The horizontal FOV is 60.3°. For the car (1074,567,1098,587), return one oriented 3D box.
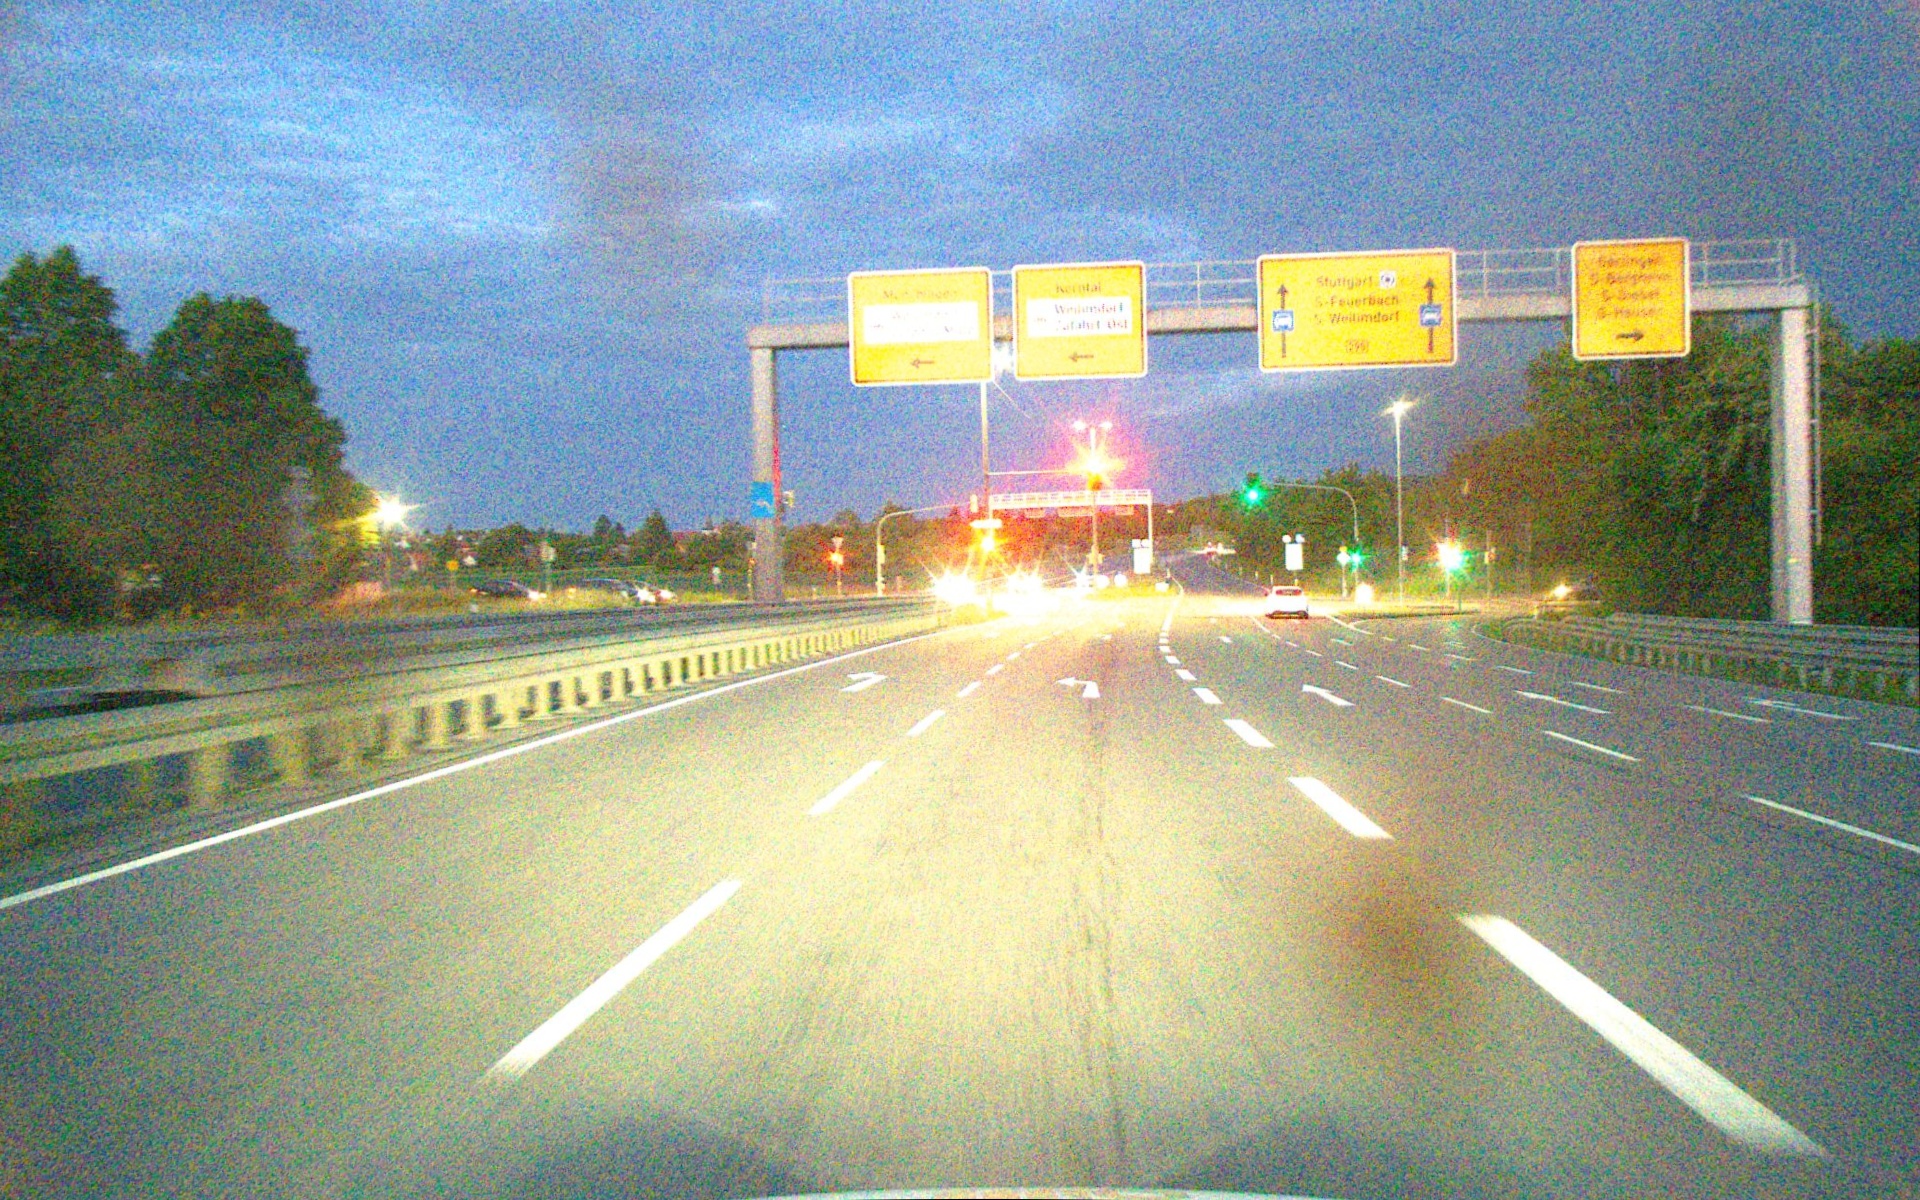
[{"bbox_3d":[11.324,-2.081,148.272,1.951,1.727,4.004,0,1,7],"label":"car"}]

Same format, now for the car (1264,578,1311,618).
[{"bbox_3d":[14.481,-0.112,73.313,1.965,1.639,3.849,-2,0,10],"label":"car"}]

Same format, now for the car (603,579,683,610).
[{"bbox_3d":[-17.450,-0.302,91.056,3.955,1.564,1.731,-1,1,5],"label":"car"}]

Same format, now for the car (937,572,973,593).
[{"bbox_3d":[-0.353,-1.257,116.946,1.951,1.450,4.536,-1,1,7],"label":"car"}]

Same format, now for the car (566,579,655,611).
[{"bbox_3d":[-18.435,-0.251,87.246,4.221,1.564,1.731,-1,1,7],"label":"car"}]

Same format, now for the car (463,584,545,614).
[{"bbox_3d":[-24.484,-0.051,88.875,3.904,1.499,1.730,-1,1,2],"label":"car"}]

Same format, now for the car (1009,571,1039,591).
[{"bbox_3d":[5.011,-1.519,129.194,1.951,1.507,4.686,-1,1,7],"label":"car"}]

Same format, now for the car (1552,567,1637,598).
[{"bbox_3d":[34.716,-0.951,90.570,3.987,1.596,2.004,-1,1,5],"label":"car"}]
